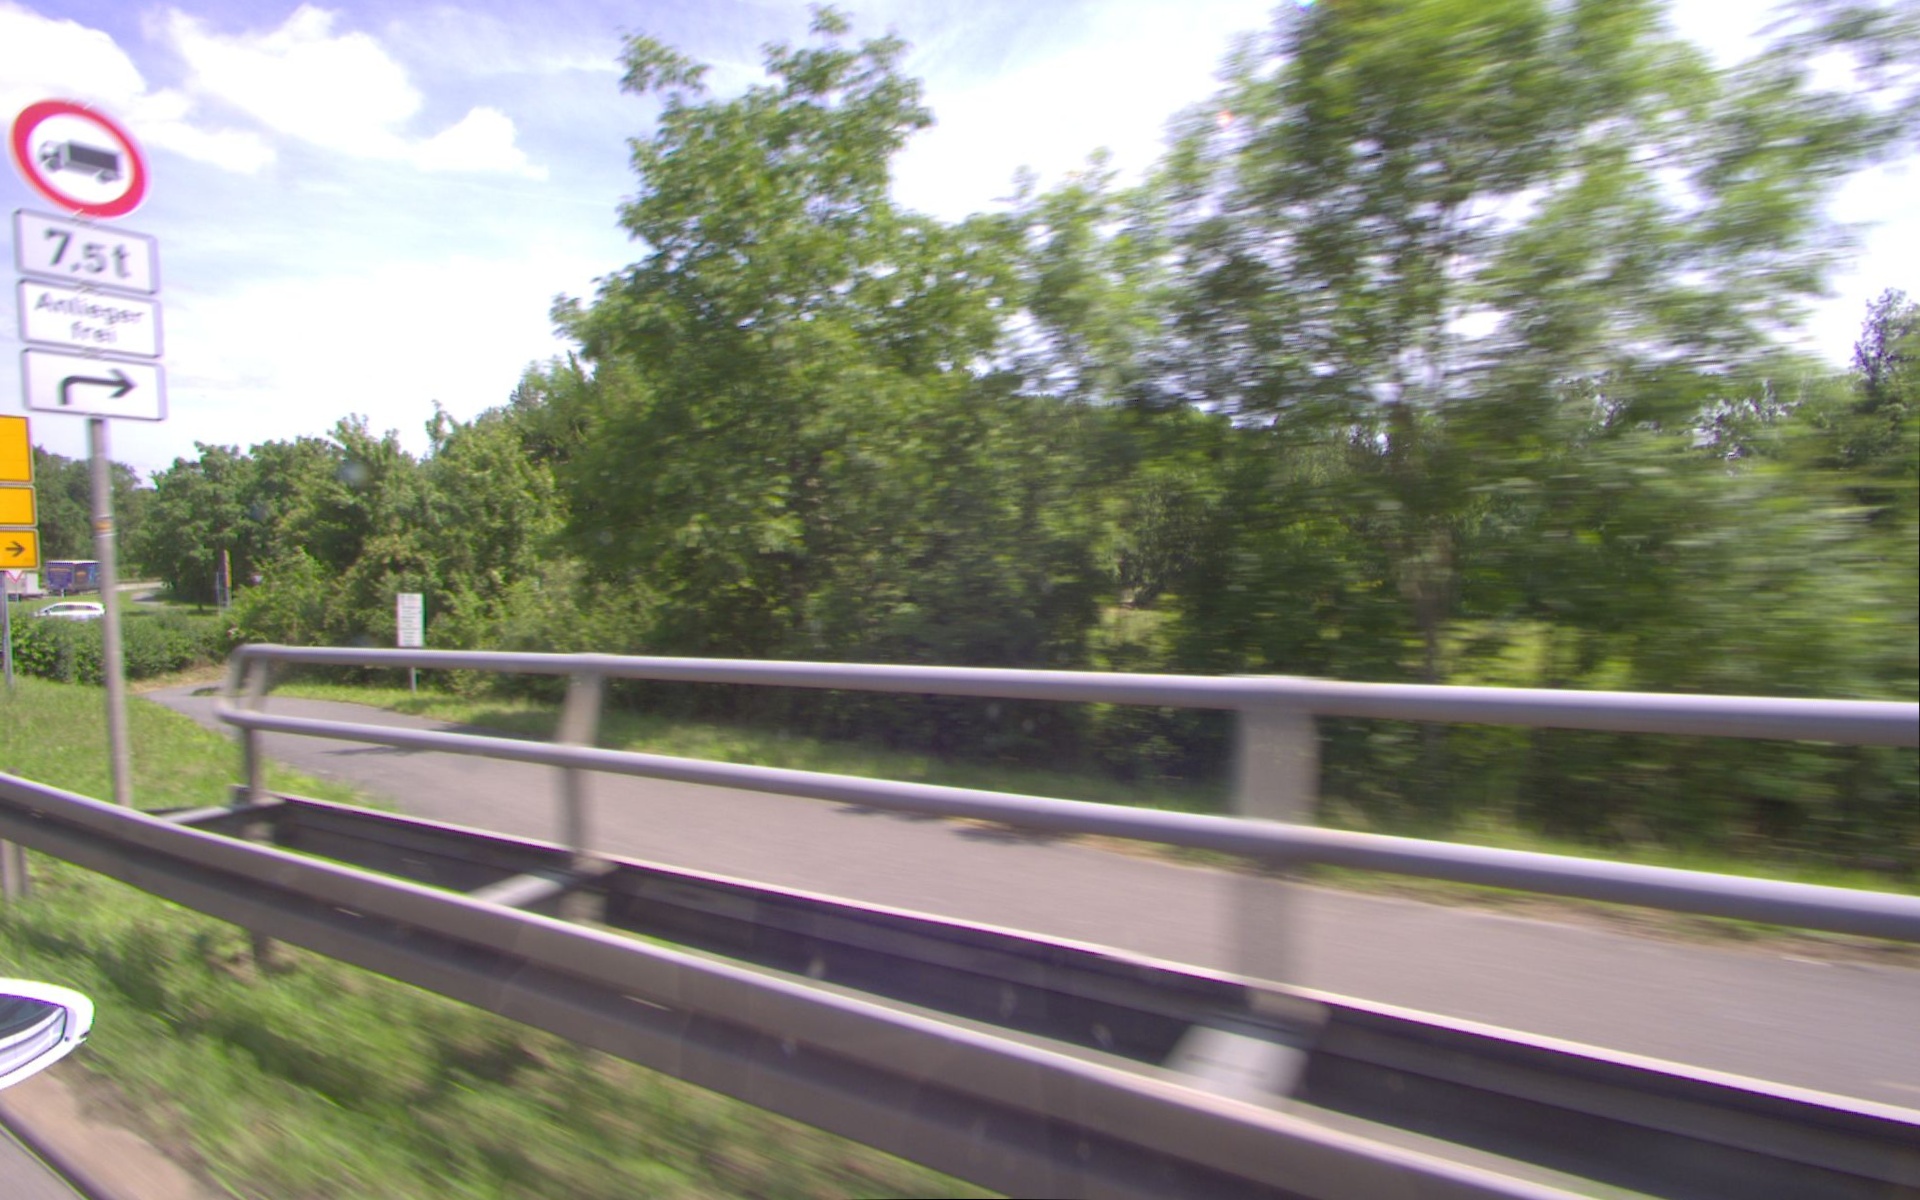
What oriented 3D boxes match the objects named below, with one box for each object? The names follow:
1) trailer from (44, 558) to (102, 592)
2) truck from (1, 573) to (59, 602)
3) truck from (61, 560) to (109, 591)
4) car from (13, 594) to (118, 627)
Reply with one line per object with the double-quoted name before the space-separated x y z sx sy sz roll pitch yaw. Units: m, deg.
"trailer" -107.988 -2.972 122.058 3.214 3.734 9.206 1 0 -28
"truck" -99.929 -1.271 107.704 2.822 2.987 7.070 1 0 -28
"truck" -110.049 -3.011 125.993 3.214 3.734 6.214 1 0 -28
"car" -51.389 0.630 57.606 1.980 1.740 4.402 -2 -3 44
